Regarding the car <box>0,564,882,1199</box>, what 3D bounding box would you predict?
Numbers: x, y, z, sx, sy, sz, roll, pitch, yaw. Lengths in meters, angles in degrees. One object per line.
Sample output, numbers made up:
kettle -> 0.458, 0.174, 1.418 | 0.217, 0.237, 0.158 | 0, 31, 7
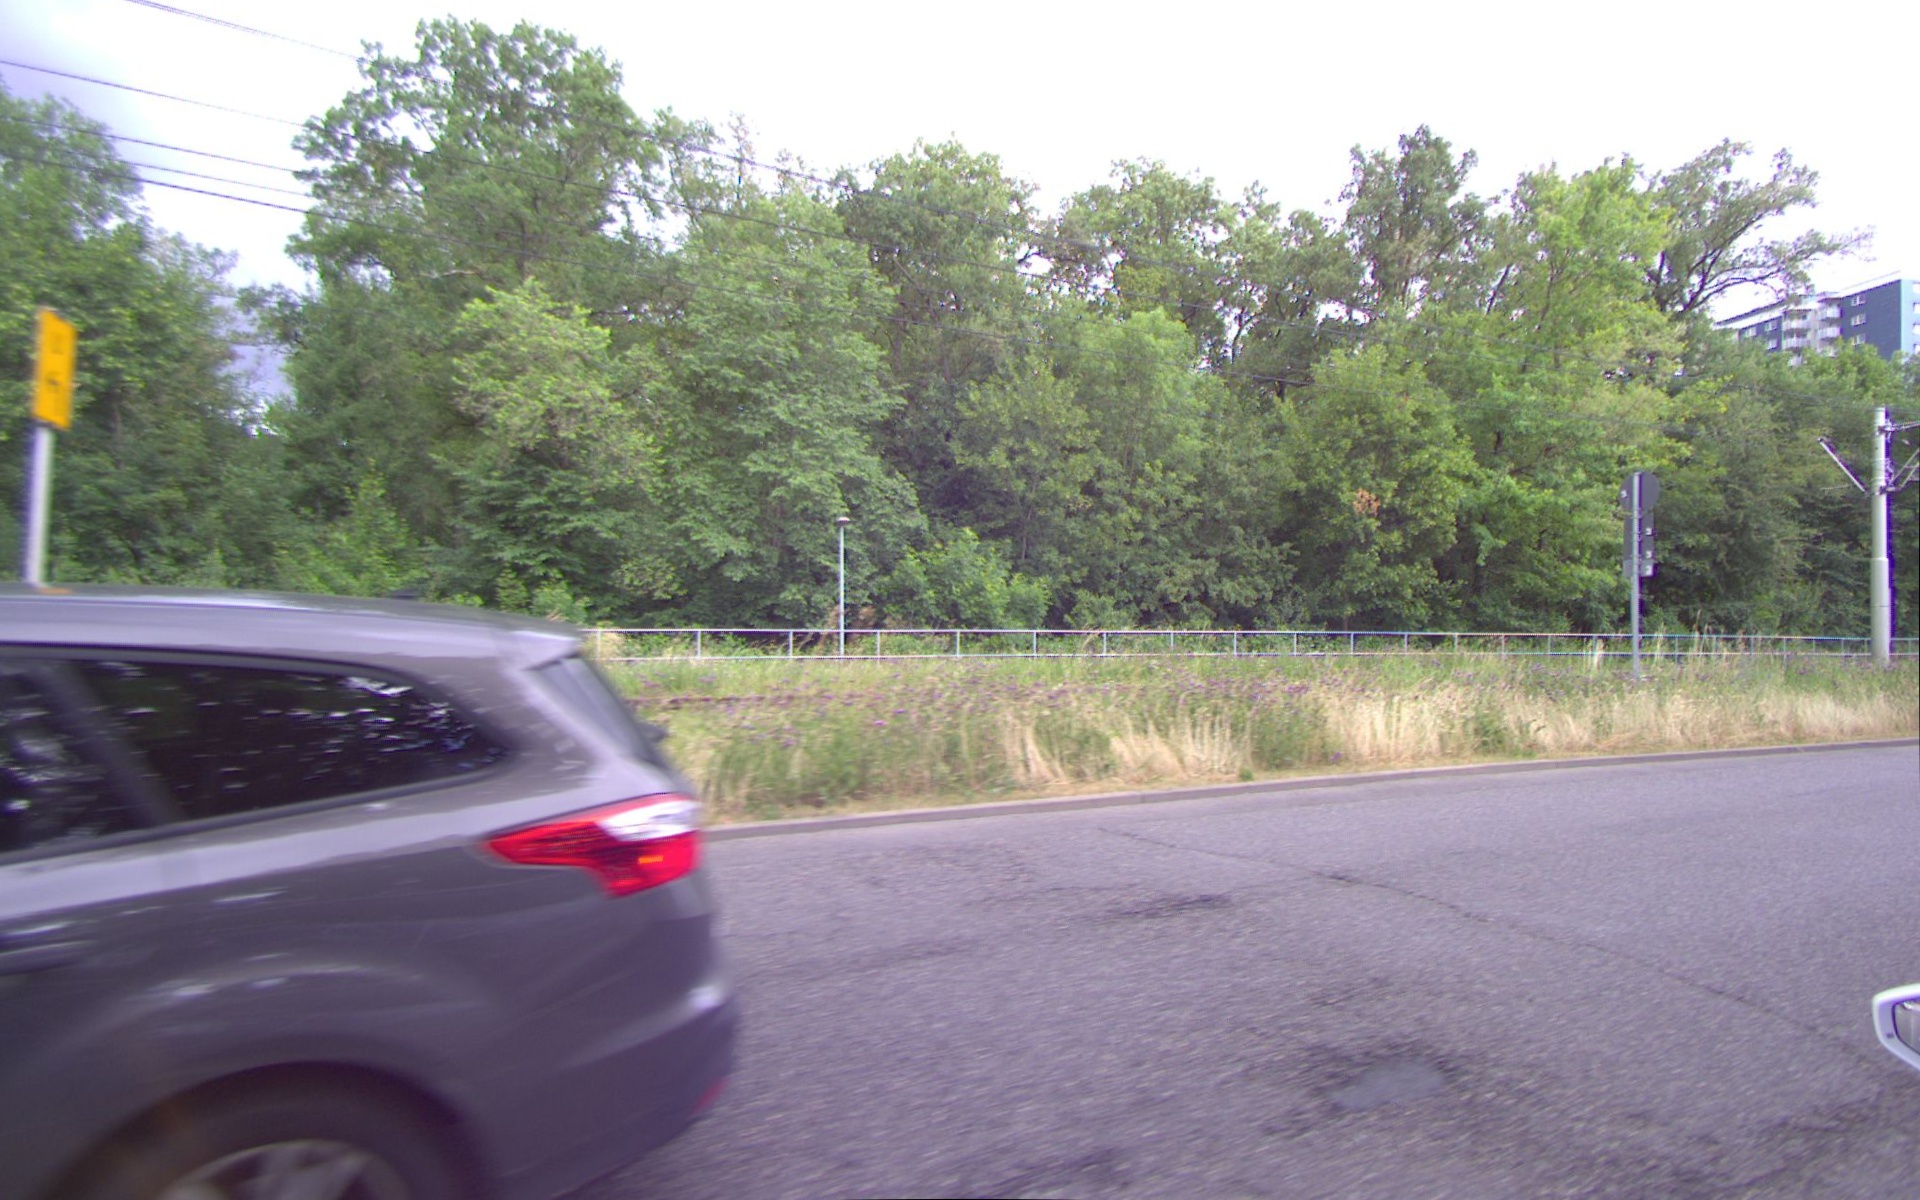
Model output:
car -> -2.503, 0.663, 1.934 | 4.377, 1.453, 1.747 | 2, -1, -31
